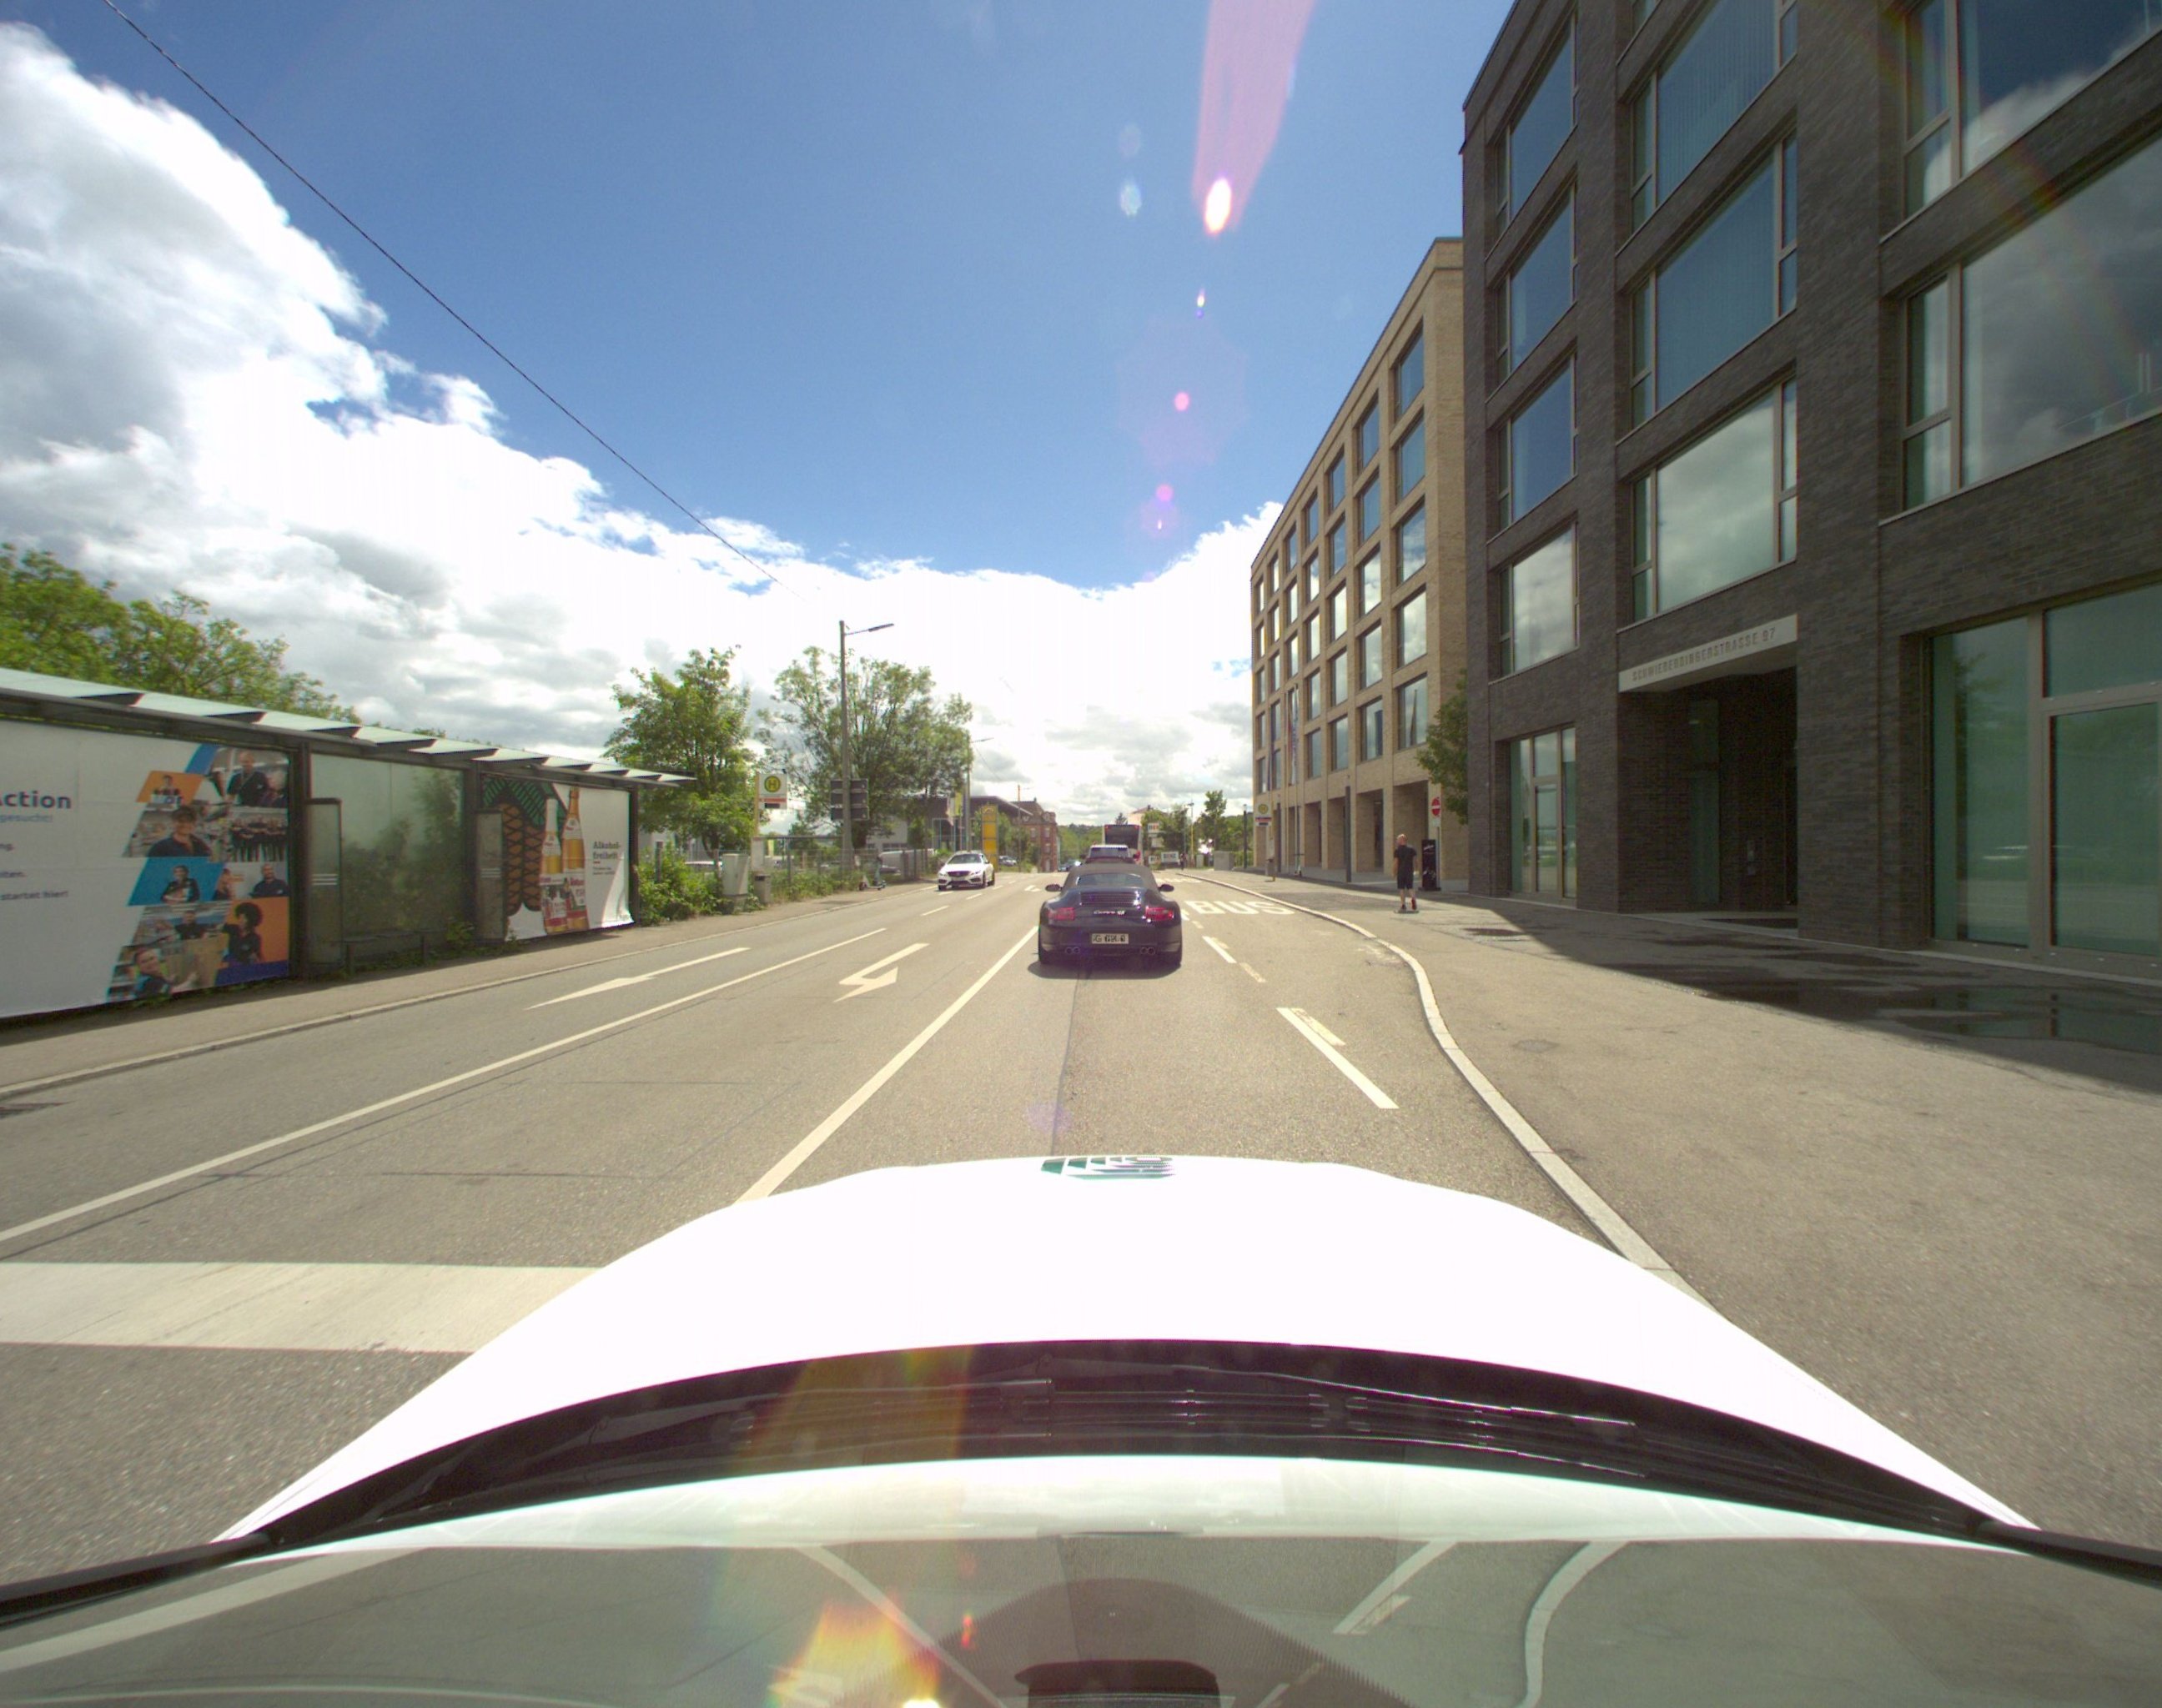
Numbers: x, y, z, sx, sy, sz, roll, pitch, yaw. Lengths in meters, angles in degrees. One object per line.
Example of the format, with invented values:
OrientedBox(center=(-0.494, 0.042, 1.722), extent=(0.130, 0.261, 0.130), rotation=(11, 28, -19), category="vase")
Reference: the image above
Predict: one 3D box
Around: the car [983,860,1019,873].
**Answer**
OrientedBox(center=(-9.731, 1.469, 99.190), extent=(1.877, 1.450, 4.862), rotation=(0, 1, 29), category="car")

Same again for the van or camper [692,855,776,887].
OrientedBox(center=(-27.585, 1.330, 65.057), extent=(5.897, 2.355, 2.488), rotation=(-1, 0, -18), category="van or camper")

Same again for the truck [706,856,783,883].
OrientedBox(center=(-30.808, 1.437, 74.843), extent=(6.313, 2.229, 2.684), rotation=(-1, -2, -20), category="truck")

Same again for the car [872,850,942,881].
OrientedBox(center=(-11.476, 0.739, 53.840), extent=(4.148, 2.013, 2.198), rotation=(-1, 0, -1), category="car")

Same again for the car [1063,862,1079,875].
OrientedBox(center=(-1.198, 1.763, 98.032), extent=(1.824, 1.509, 4.275), rotation=(-1, -1, 0), category="car")

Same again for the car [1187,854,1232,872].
OrientedBox(center=(14.618, 1.055, 92.942), extent=(4.702, 1.848, 2.084), rotation=(-2, -2, -7), category="car")

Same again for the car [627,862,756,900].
OrientedBox(center=(-15.547, 1.066, 32.616), extent=(4.255, 1.381, 1.869), rotation=(-1, -1, 5), category="car")

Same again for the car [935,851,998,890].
OrientedBox(center=(-4.578, 0.634, 33.258), extent=(1.789, 1.376, 4.226), rotation=(-2, 1, 2), category="car")

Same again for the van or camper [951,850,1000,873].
OrientedBox(center=(-11.702, 0.837, 90.622), extent=(5.010, 2.531, 2.318), rotation=(-1, 0, 0), category="van or camper")

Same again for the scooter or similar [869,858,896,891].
OrientedBox(center=(-7.876, 0.781, 32.388), extent=(0.532, 1.266, 1.474), rotation=(1, 0, 7), category="scooter or similar")

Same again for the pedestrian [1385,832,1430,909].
OrientedBox(center=(7.460, 0.365, 18.640), extent=(0.680, 1.728, 0.962), rotation=(0, 0, 1), category="pedestrian")

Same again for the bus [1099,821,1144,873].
OrientedBox(center=(2.881, -0.495, 57.227), extent=(2.790, 3.197, 12.205), rotation=(-1, 1, 3), category="bus")

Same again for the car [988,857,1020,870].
OrientedBox(center=(-9.825, 1.272, 104.304), extent=(1.913, 1.573, 4.579), rotation=(-2, -2, 24), category="car")

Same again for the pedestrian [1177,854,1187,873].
OrientedBox(center=(8.431, 0.783, 67.832), extent=(0.685, 1.536, 0.856), rotation=(-1, -1, 1), category="pedestrian")

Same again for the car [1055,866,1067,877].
OrientedBox(center=(-3.308, 2.946, 136.846), extent=(1.738, 1.595, 4.041), rotation=(-3, -1, 0), category="car")

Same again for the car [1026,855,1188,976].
OrientedBox(center=(0.400, 0.737, 11.823), extent=(1.923, 1.376, 4.211), rotation=(-1, 1, 2), category="car")

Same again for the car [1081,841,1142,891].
OrientedBox(center=(0.976, 0.379, 28.313), extent=(1.925, 1.583, 4.206), rotation=(-1, 0, -1), category="car")

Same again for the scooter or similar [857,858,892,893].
OrientedBox(center=(-7.827, 0.793, 30.888), extent=(0.530, 1.262, 1.478), rotation=(1, 0, 19), category="scooter or similar")

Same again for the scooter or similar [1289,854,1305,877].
OrientedBox(center=(10.798, 0.577, 40.779), extent=(0.425, 1.153, 1.404), rotation=(-1, 0, 1), category="scooter or similar")
